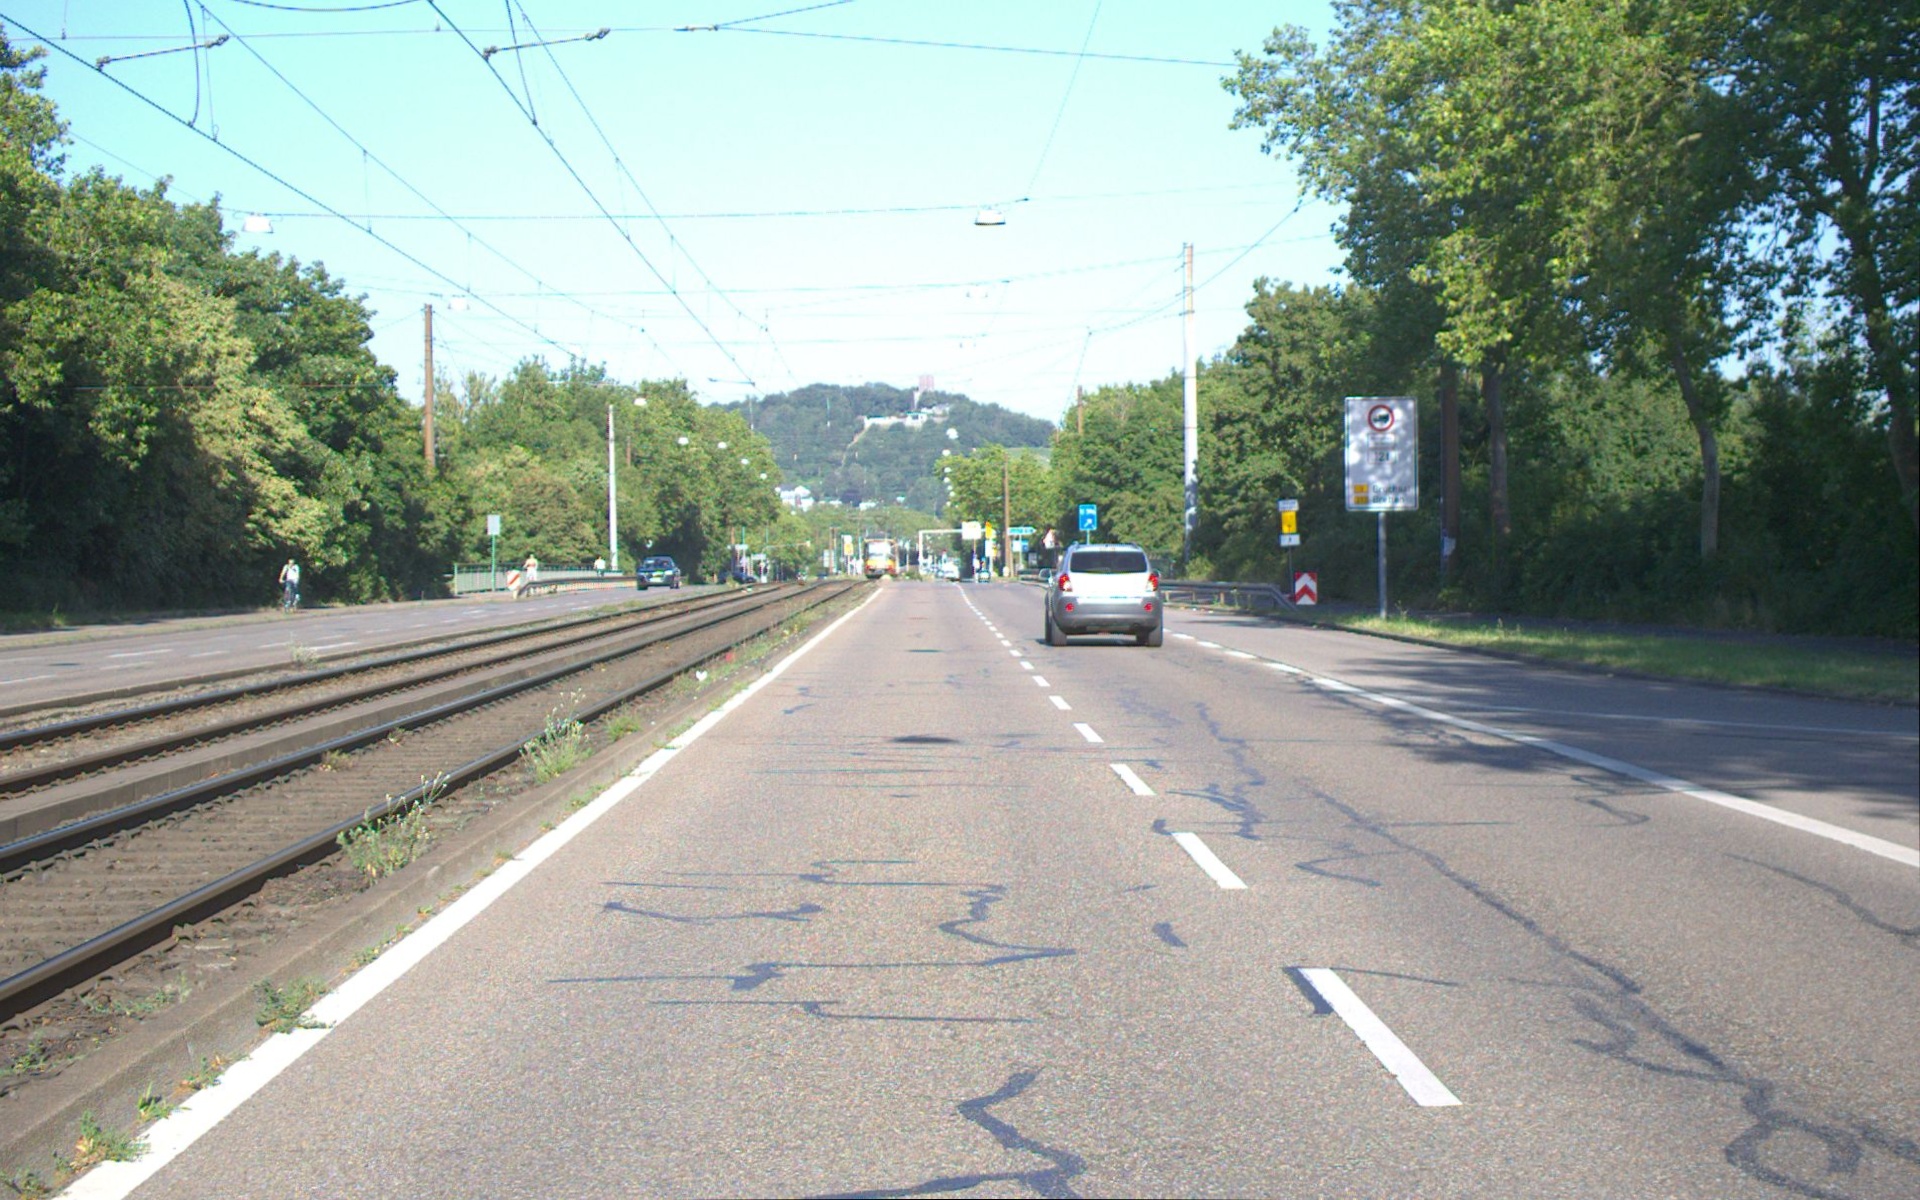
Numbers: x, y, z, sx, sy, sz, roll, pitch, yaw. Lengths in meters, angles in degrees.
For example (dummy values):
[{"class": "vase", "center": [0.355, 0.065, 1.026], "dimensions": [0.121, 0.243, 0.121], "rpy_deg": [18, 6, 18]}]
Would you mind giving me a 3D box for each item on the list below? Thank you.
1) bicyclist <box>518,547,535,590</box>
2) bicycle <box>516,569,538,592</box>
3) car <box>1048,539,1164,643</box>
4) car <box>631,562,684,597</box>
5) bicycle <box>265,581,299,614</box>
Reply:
[{"class": "bicyclist", "center": [-17.335, -1.254, 137.496], "dimensions": [0.507, 1.681, 0.919], "rpy_deg": [1, 0, 2]}, {"class": "bicycle", "center": [-17.339, -0.775, 137.597], "dimensions": [0.507, 0.889, 2.027], "rpy_deg": [1, 1, 2]}, {"class": "car", "center": [2.442, -0.157, 58.020], "dimensions": [1.888, 1.688, 4.256], "rpy_deg": [0, 0, 2]}, {"class": "car", "center": [-15.183, -1.017, 172.660], "dimensions": [1.994, 1.680, 4.795], "rpy_deg": [-2, 0, 3]}, {"class": "bicycle", "center": [-20.735, -0.076, 105.177], "dimensions": [0.550, 0.983, 2.239], "rpy_deg": [1, 1, 1]}]
